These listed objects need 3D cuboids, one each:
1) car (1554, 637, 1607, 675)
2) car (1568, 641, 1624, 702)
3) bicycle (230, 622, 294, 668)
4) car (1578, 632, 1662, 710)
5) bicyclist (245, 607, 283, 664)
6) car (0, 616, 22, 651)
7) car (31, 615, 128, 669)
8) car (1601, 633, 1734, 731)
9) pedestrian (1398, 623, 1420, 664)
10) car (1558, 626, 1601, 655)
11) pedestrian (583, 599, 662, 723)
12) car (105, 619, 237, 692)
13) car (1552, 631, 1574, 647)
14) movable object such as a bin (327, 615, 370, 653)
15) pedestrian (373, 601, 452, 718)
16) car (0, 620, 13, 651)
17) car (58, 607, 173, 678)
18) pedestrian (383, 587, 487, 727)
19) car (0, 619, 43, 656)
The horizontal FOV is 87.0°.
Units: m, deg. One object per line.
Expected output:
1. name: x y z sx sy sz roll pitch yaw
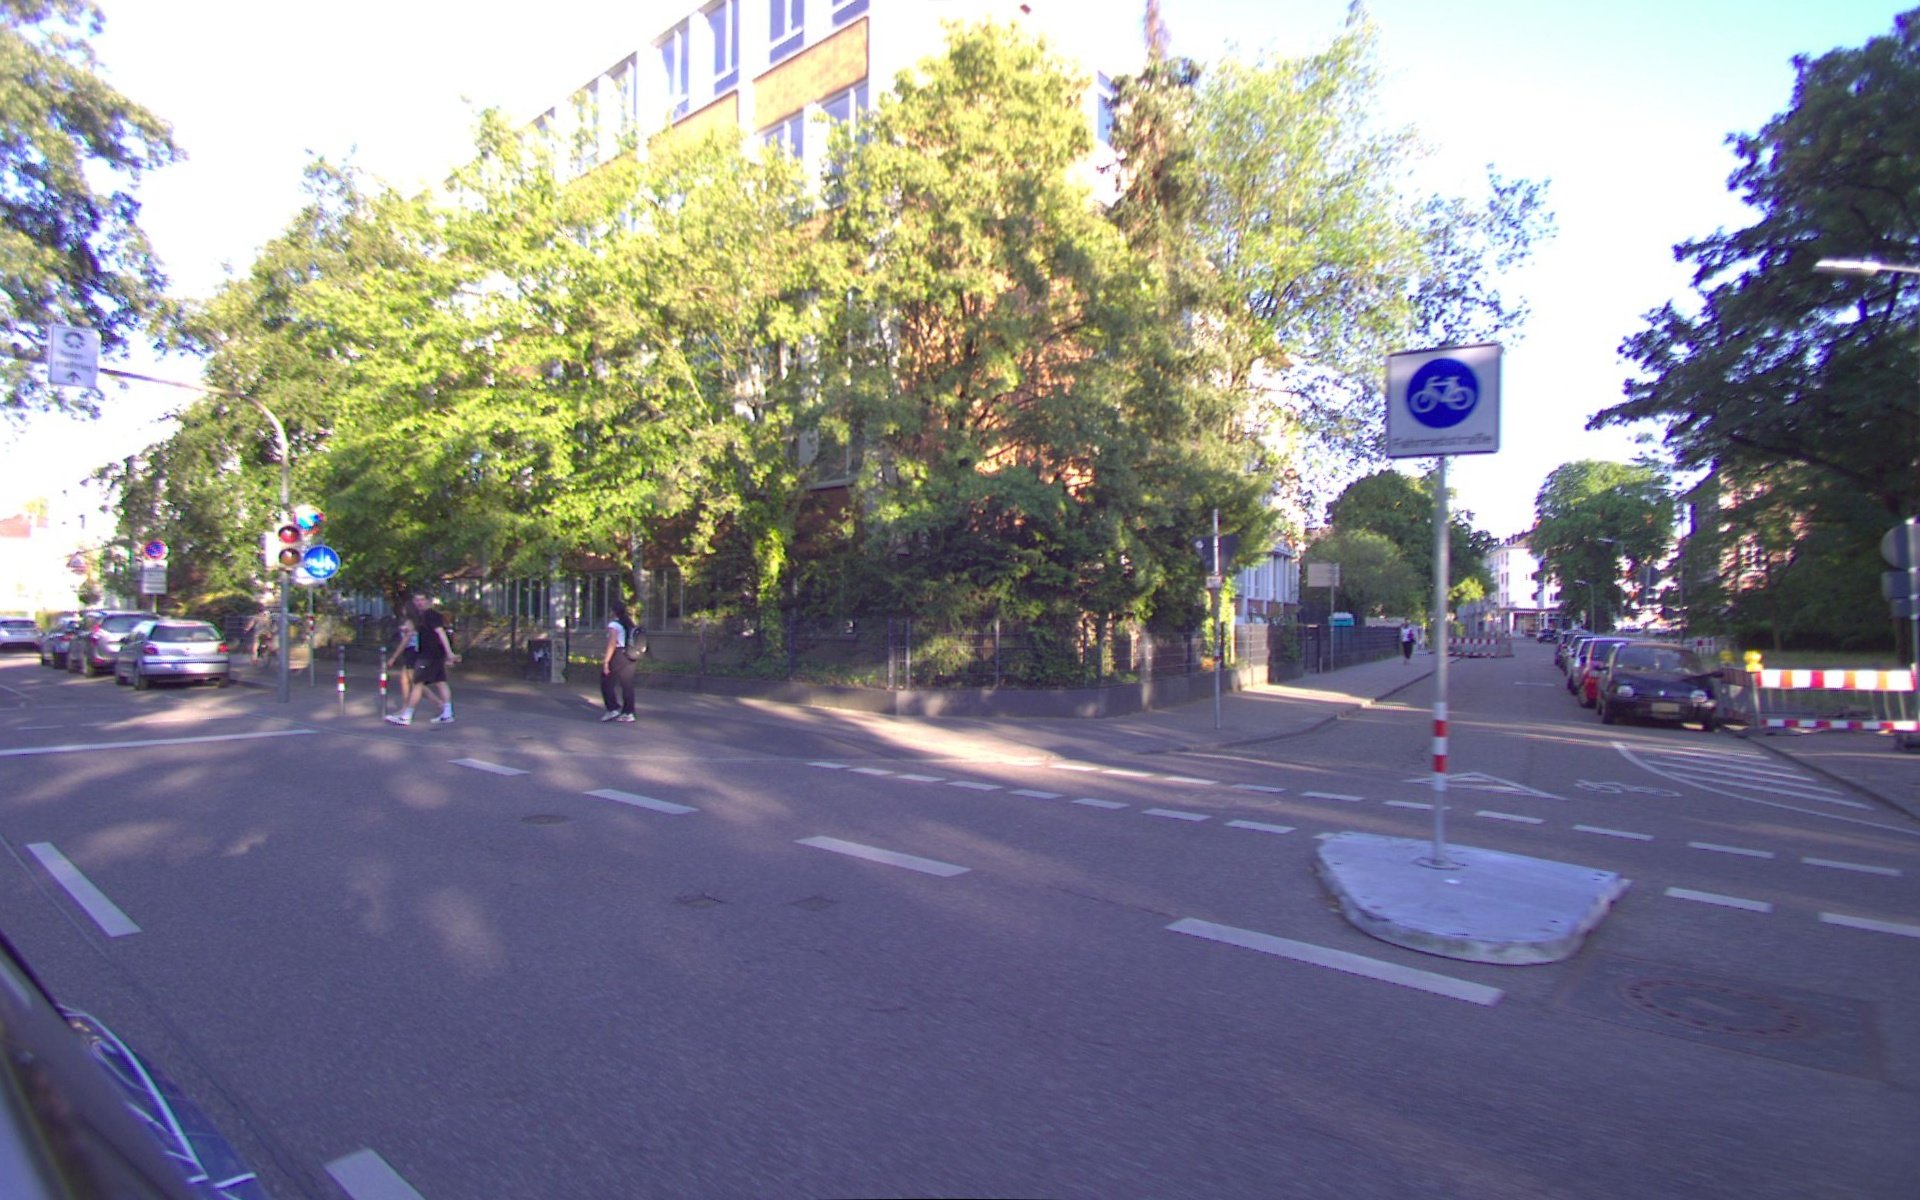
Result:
1. car: 21.514 1.922 35.113 1.495 1.231 2.871 -1 -2 32
2. car: 15.880 1.742 25.305 1.095 1.379 2.699 1 -1 32
3. bicycle: -20.030 1.270 29.036 2.185 1.258 0.681 -1 -1 32
4. car: 14.036 1.462 21.614 1.370 1.468 3.240 1 -1 32
5. bicyclist: -19.918 1.013 28.968 0.704 1.615 0.670 -1 -1 31
6. car: -43.388 1.517 45.443 3.787 1.519 1.581 -2 -4 43
7. car: -26.314 1.263 30.216 4.060 1.505 1.653 -2 -4 42
8. car: 12.297 1.361 17.749 1.679 1.468 3.240 1 -1 32
9. pedestrian: 18.433 1.780 41.544 0.734 1.623 0.703 -1 -2 32
10. car: 26.561 1.729 43.408 1.495 1.231 2.871 -1 -2 32
11. pedestrian: -4.682 0.835 14.082 0.760 1.675 0.711 -1 -2 18
12. car: -17.572 1.200 22.479 3.881 1.468 1.661 -2 -4 43
13. car: 64.902 4.183 108.845 1.993 1.741 3.957 -1 -2 32
14. movable object such as a bin: -23.432 1.299 38.759 1.373 1.441 1.086 -1 -2 44
15. pedestrian: -8.037 0.860 14.862 0.701 1.675 0.711 -1 -2 18
16. car: -46.738 1.695 48.409 4.052 1.466 1.582 -2 -3 40
17. car: -22.318 1.124 26.698 4.339 1.721 1.661 -2 -4 42
18. pedestrian: -7.212 0.768 13.915 0.949 1.838 0.818 0 -2 18
19. car: -39.674 1.556 42.216 3.770 1.505 1.584 -2 -3 41
